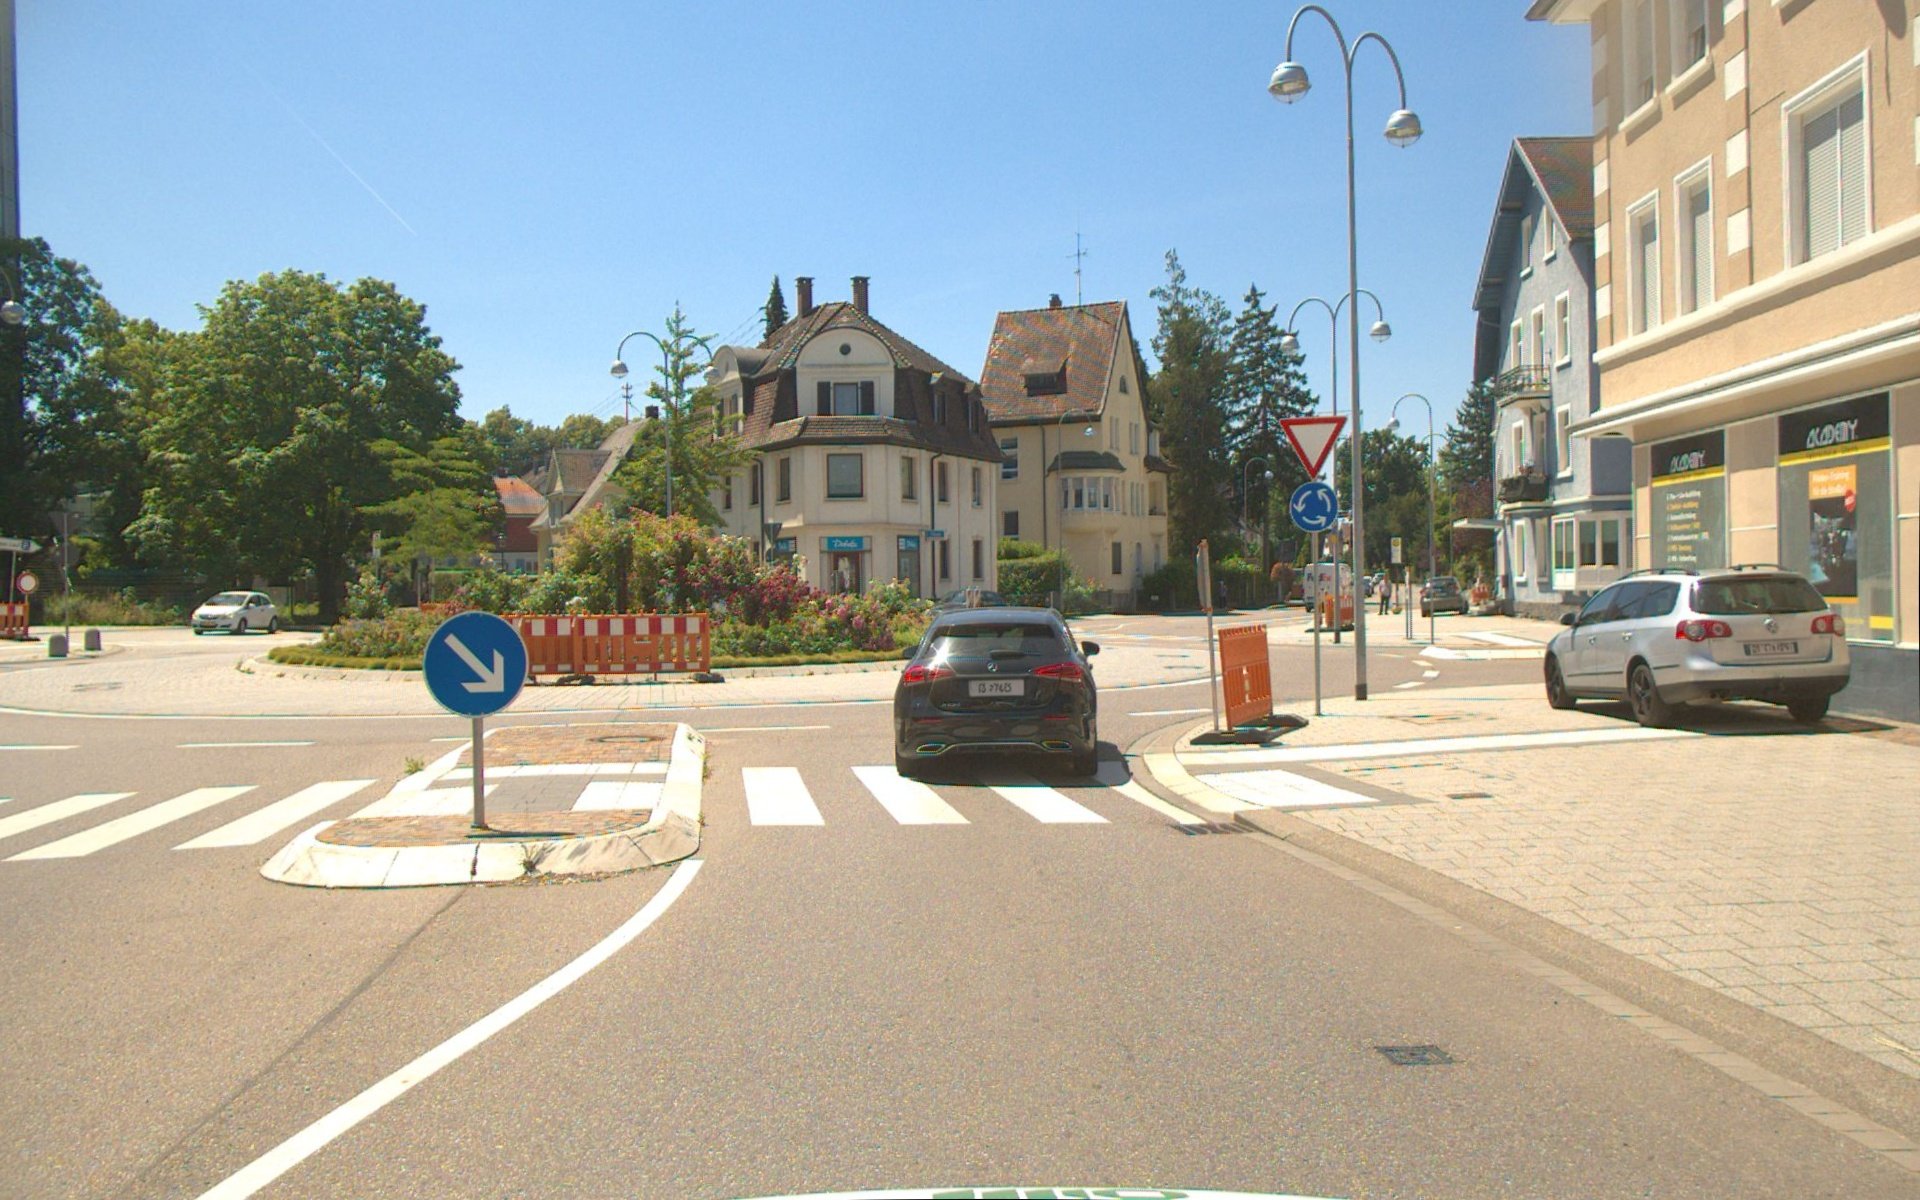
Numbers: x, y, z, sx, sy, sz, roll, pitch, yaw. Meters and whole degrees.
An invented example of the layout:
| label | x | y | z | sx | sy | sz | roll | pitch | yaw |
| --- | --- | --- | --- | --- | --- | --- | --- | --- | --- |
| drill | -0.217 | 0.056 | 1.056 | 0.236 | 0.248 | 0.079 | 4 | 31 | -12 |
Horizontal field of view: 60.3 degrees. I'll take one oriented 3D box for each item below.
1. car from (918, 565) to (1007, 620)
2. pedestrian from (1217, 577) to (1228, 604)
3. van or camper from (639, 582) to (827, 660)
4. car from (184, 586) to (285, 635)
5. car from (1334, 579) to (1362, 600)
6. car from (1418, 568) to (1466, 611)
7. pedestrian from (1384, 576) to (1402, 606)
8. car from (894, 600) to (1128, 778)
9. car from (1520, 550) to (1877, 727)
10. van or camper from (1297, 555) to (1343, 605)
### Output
| label | x | y | z | sx | sy | sz | roll | pitch | yaw |
| --- | --- | --- | --- | --- | --- | --- | --- | --- | --- |
| car | 0.140 | -0.245 | 56.892 | 1.880 | 1.803 | 4.002 | 1 | 0 | 18 |
| pedestrian | 15.271 | -0.568 | 96.262 | 0.512 | 1.535 | 0.473 | -1 | 0 | 25 |
| van or camper | -6.752 | 0.622 | 49.581 | 5.361 | 2.210 | 1.971 | 1 | -1 | -40 |
| car | -25.809 | 0.404 | 58.987 | 1.748 | 1.625 | 3.921 | 0 | -2 | 2 |
| car | 32.695 | -0.879 | 139.274 | 1.951 | 1.680 | 4.002 | 0 | 0 | 17 |
| car | 19.194 | -0.420 | 65.795 | 1.605 | 1.533 | 3.565 | -4 | 0 | 19 |
| pedestrian | 20.099 | -0.409 | 76.786 | 0.653 | 1.308 | 0.586 | -4 | -1 | 26 |
| car | 0.398 | 0.740 | 15.556 | 1.913 | 1.452 | 3.999 | 0 | 0 | -1 |
| car | 7.559 | 0.338 | 17.505 | 1.728 | 1.556 | 4.691 | -2 | 0 | 1 |
| van or camper | 19.659 | -1.069 | 90.182 | 2.159 | 2.656 | 4.002 | -1 | 0 | 17 |
